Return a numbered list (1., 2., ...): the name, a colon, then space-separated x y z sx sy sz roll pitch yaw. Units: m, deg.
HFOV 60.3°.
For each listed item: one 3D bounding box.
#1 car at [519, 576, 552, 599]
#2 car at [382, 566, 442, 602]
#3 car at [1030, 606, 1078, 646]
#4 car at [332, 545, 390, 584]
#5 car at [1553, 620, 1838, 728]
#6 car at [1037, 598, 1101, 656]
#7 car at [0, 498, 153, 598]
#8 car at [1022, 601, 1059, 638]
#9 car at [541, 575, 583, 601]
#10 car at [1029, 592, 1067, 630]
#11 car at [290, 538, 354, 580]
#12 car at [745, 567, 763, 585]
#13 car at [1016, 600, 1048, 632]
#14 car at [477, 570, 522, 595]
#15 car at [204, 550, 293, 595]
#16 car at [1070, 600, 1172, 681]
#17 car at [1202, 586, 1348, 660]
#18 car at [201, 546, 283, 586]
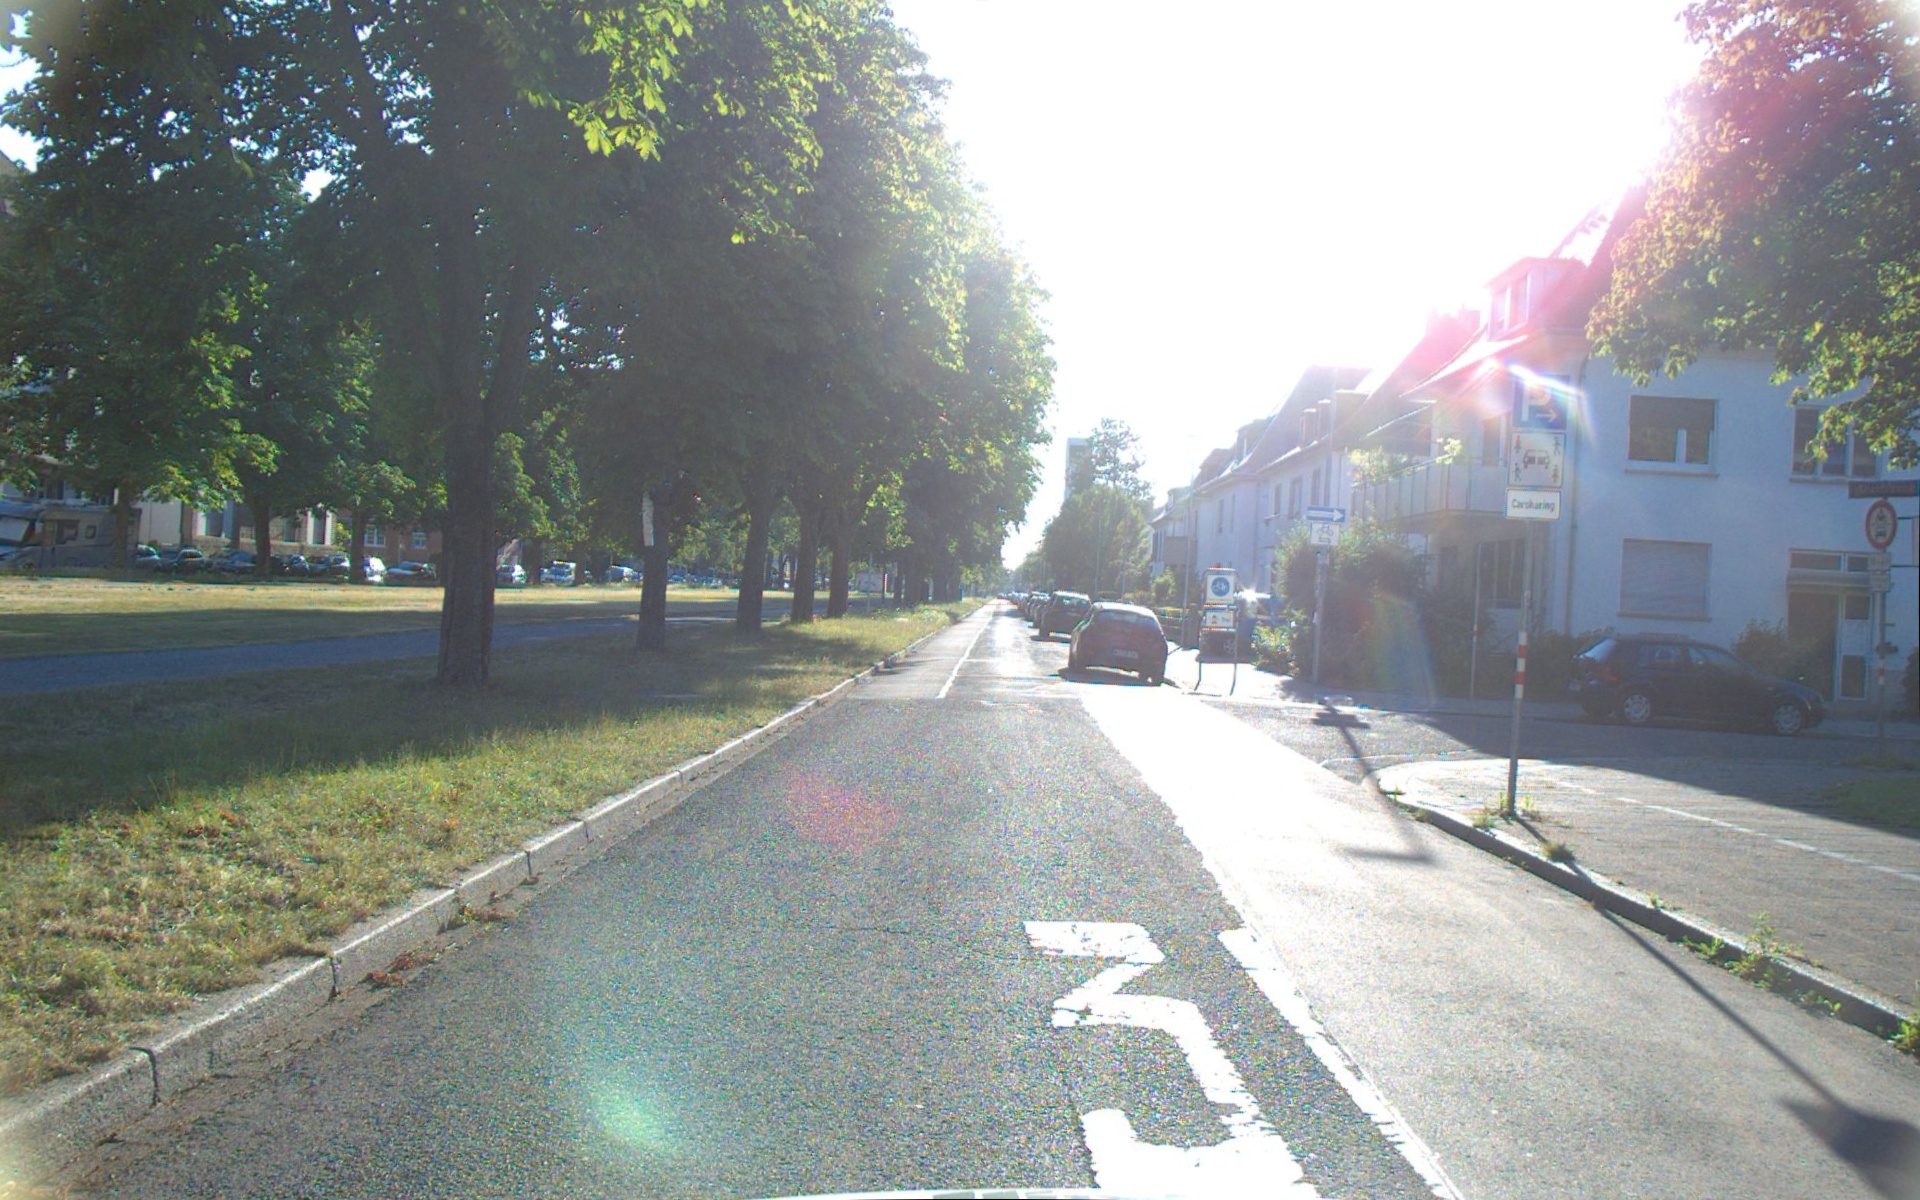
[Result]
1. car: -35.519 -1.035 138.526 1.606 1.671 3.854 6 -1 0
2. car: -31.323 -0.886 94.607 1.774 1.811 4.123 6 -1 2
3. car: 4.368 1.222 77.345 1.953 1.682 4.000 4 -1 0
4. car: -36.734 -2.136 101.558 1.954 2.048 3.999 6 -1 0
5. car: 12.108 1.201 27.387 3.905 1.472 1.716 4 -1 1
6. car: 3.889 0.943 59.689 1.953 1.812 4.000 6 0 0
7. car: -31.998 -1.806 58.732 2.344 3.184 7.854 6 0 2
8. car: 5.010 1.219 103.287 1.953 2.048 4.000 6 -1 0
9. car: -30.132 -0.872 125.275 1.982 1.687 3.984 6 -1 2
10. car: 5.190 0.672 97.991 1.953 2.048 4.000 6 -1 0
11. car: -36.705 -2.341 95.290 1.954 2.048 3.999 6 -1 0
12. car: -26.404 -3.101 211.684 1.621 1.971 3.567 5 -2 1
13. car: 5.118 1.173 117.659 1.953 2.048 4.000 6 -1 0
14. car: -36.463 -1.397 131.025 1.953 1.687 4.356 6 -1 3
15. car: -31.886 -1.206 74.232 1.841 1.703 4.316 6 -1 2
16. car: 3.232 0.810 33.888 1.675 1.383 4.203 6 -1 1
17. car: 9.294 0.693 48.939 3.908 1.854 1.758 3 -6 -3
18. car: -36.713 -1.706 84.648 1.953 1.687 4.375 6 -1 3
